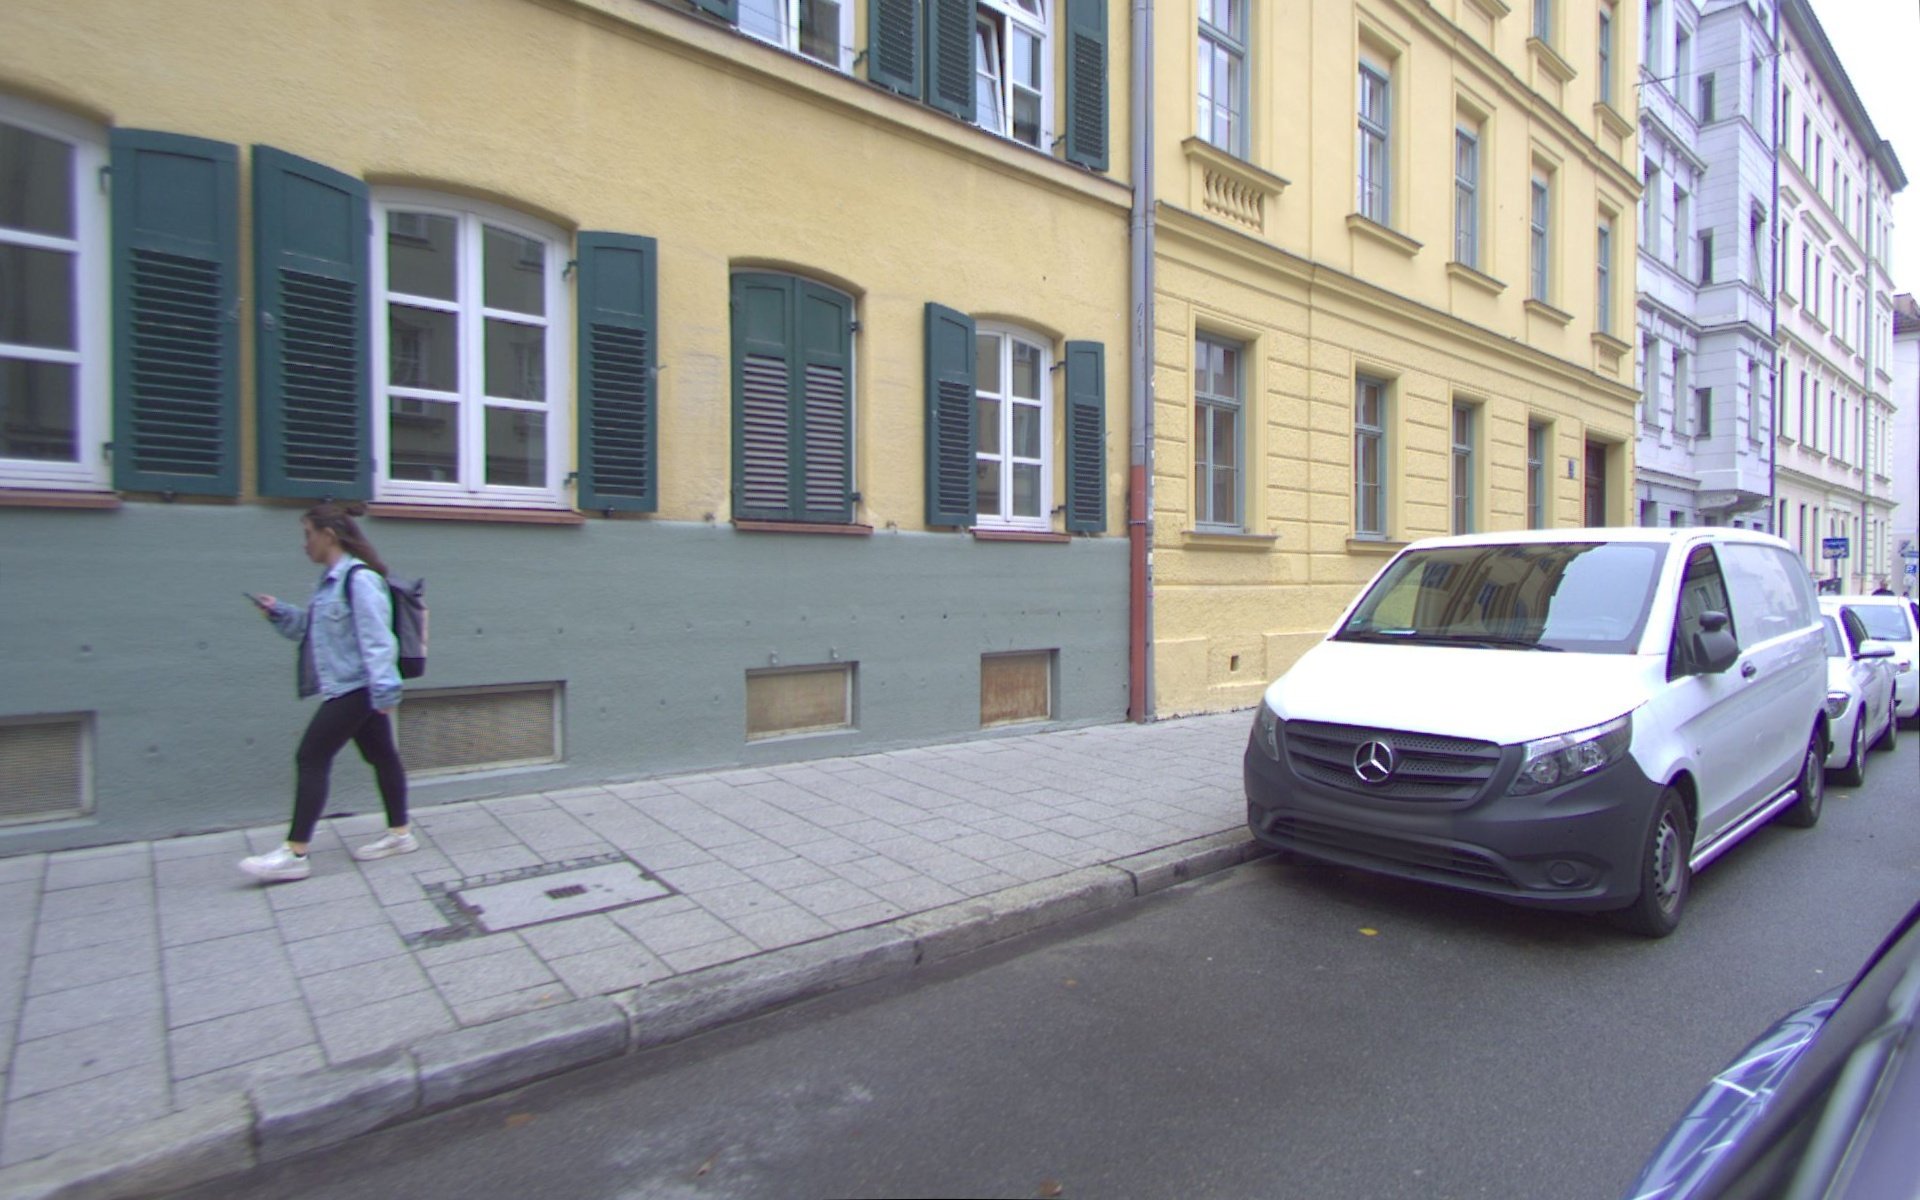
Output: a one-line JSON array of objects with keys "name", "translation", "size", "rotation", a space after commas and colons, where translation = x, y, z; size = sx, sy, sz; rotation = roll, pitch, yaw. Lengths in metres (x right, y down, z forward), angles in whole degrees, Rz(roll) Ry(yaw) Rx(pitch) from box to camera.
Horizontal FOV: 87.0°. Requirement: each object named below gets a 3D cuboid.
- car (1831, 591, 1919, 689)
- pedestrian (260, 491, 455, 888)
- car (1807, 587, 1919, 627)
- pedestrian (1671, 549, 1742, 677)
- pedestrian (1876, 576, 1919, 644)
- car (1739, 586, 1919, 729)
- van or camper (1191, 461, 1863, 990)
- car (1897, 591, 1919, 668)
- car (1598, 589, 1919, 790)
[{"name": "car", "translation": [15.969, 0.579, 16.698], "size": [4.730, 1.426, 1.711], "rotation": [-1, 1, -40]}, {"name": "pedestrian", "translation": [-2.668, 0.333, 4.484], "size": [0.631, 1.590, 0.662], "rotation": [-2, 5, -40]}, {"name": "car", "translation": [40.927, 0.315, 45.549], "size": [1.724, 1.625, 4.095], "rotation": [2, 0, -41]}, {"name": "pedestrian", "translation": [12.156, 0.193, 16.487], "size": [0.696, 2.004, 0.671], "rotation": [-2, 5, -40]}, {"name": "pedestrian", "translation": [24.848, 0.236, 26.809], "size": [0.987, 1.738, 0.720], "rotation": [-2, 2, -42]}, {"name": "car", "translation": [11.014, 0.574, 12.376], "size": [4.027, 1.472, 1.710], "rotation": [-1, 1, -43]}, {"name": "van or camper", "translation": [3.639, 0.416, 5.957], "size": [4.989, 1.895, 1.837], "rotation": [-1, 1, -40]}, {"name": "car", "translation": [20.096, 0.559, 20.226], "size": [4.136, 1.422, 1.710], "rotation": [-1, 1, -43]}, {"name": "car", "translation": [7.471, 0.619, 9.297], "size": [4.135, 1.410, 1.710], "rotation": [-1, 1, -43]}]
